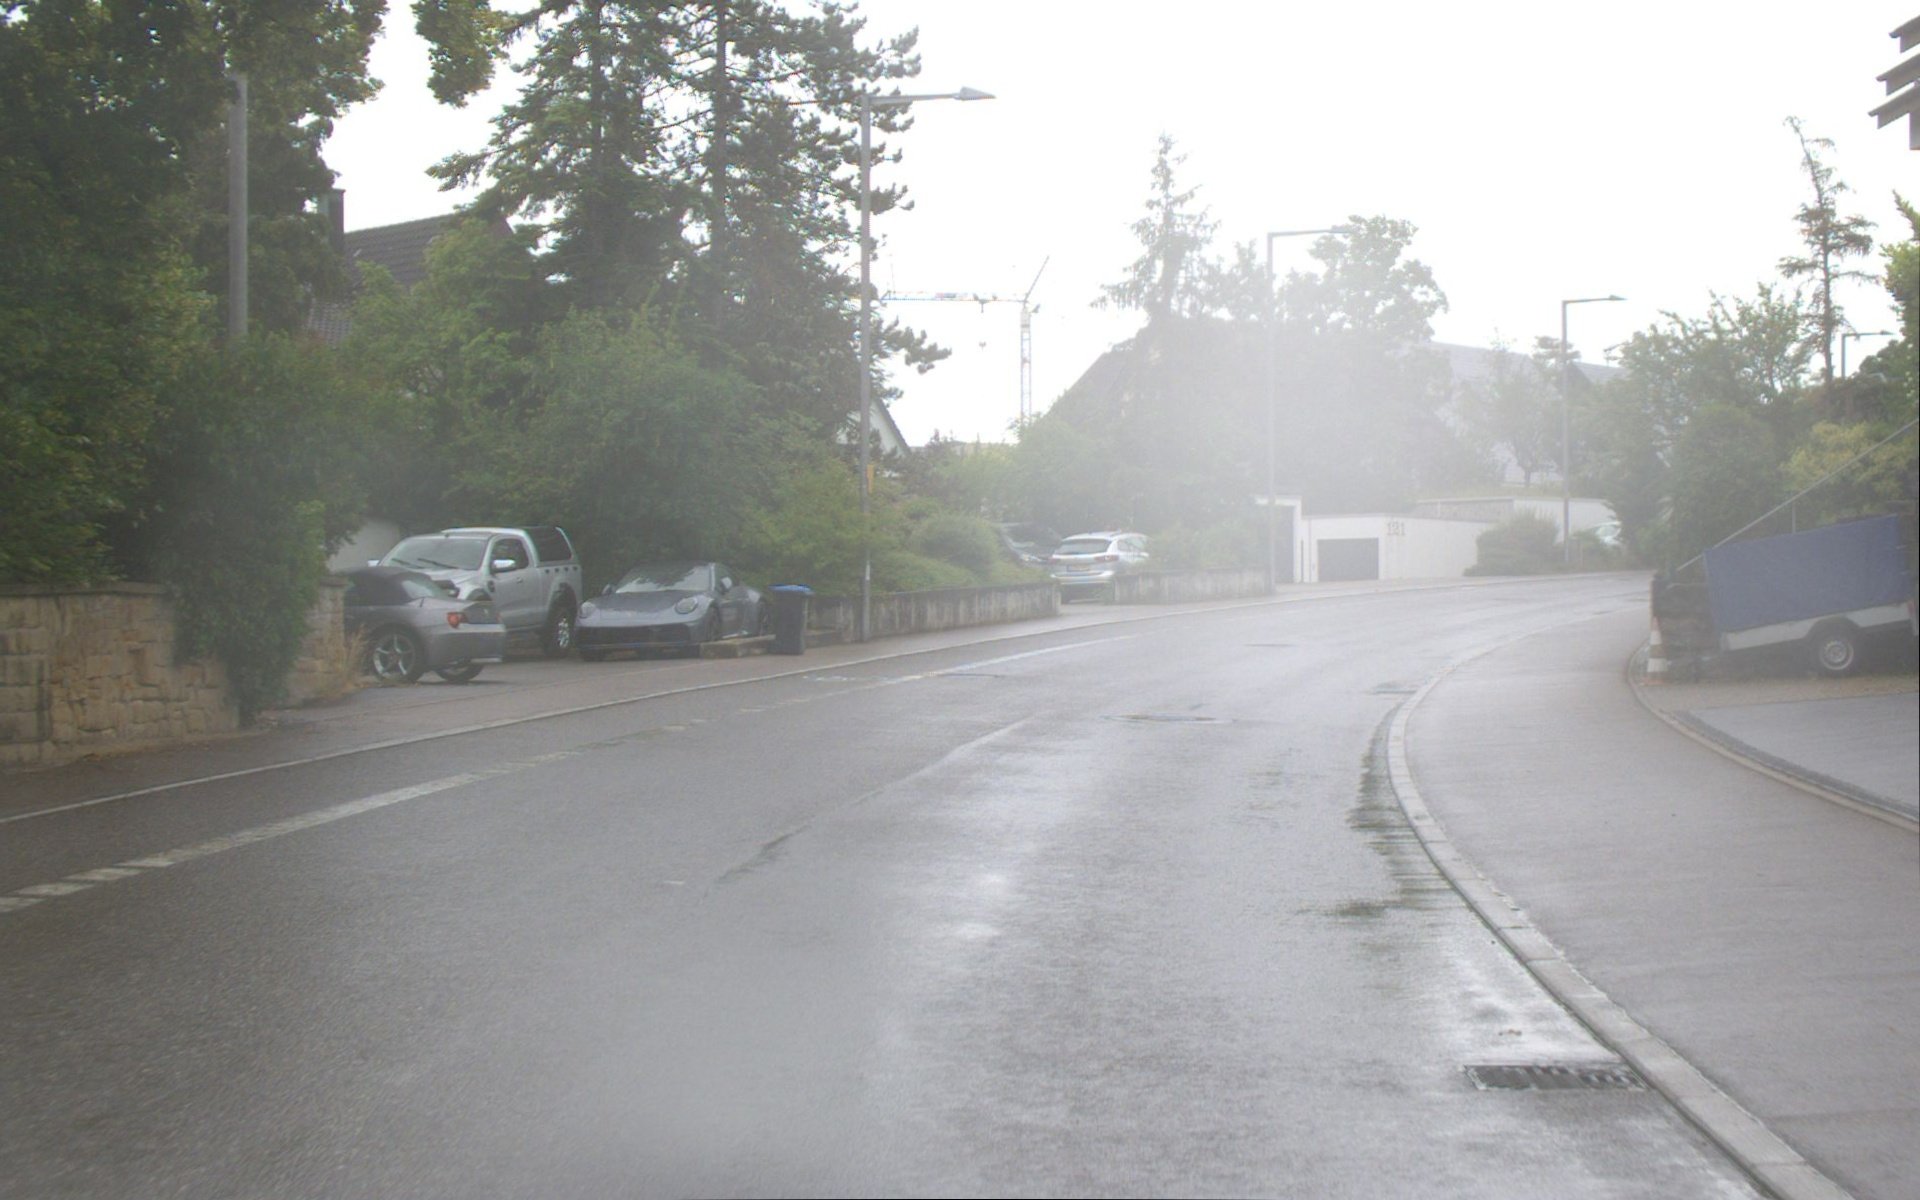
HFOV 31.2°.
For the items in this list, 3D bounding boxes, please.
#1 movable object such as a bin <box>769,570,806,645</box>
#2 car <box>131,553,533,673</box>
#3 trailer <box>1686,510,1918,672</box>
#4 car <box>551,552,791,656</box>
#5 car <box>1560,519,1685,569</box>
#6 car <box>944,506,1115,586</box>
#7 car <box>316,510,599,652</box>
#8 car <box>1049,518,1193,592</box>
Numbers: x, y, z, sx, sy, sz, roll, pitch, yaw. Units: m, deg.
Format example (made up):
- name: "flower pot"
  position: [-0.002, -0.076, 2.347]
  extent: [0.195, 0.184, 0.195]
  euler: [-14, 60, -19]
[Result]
- name: "movable object such as a bin"
  position: [-2.327, 0.100, 46.305]
  extent: [0.370, 0.985, 0.558]
  euler: [-1, 1, 10]
- name: "car"
  position: [-6.981, 0.122, 38.308]
  extent: [3.990, 1.267, 1.872]
  euler: [0, 1, 17]
- name: "trailer"
  position: [9.318, -0.113, 38.212]
  extent: [2.355, 1.742, 1.999]
  euler: [0, 1, 10]
- name: "car"
  position: [-3.891, 0.021, 47.107]
  extent: [1.995, 1.303, 4.431]
  euler: [-1, 1, 13]
- name: "car"
  position: [21.283, -1.804, 110.323]
  extent: [4.377, 1.548, 1.709]
  euler: [-2, 2, -44]
- name: "car"
  position: [1.616, -1.266, 81.168]
  extent: [1.994, 1.831, 3.999]
  euler: [-2, 1, -37]
- name: "car"
  position: [-6.801, -0.305, 47.235]
  extent: [1.995, 1.837, 5.475]
  euler: [0, 1, 13]
- name: "car"
  position: [3.543, -0.987, 74.972]
  extent: [1.737, 1.546, 3.995]
  euler: [0, 1, 25]
